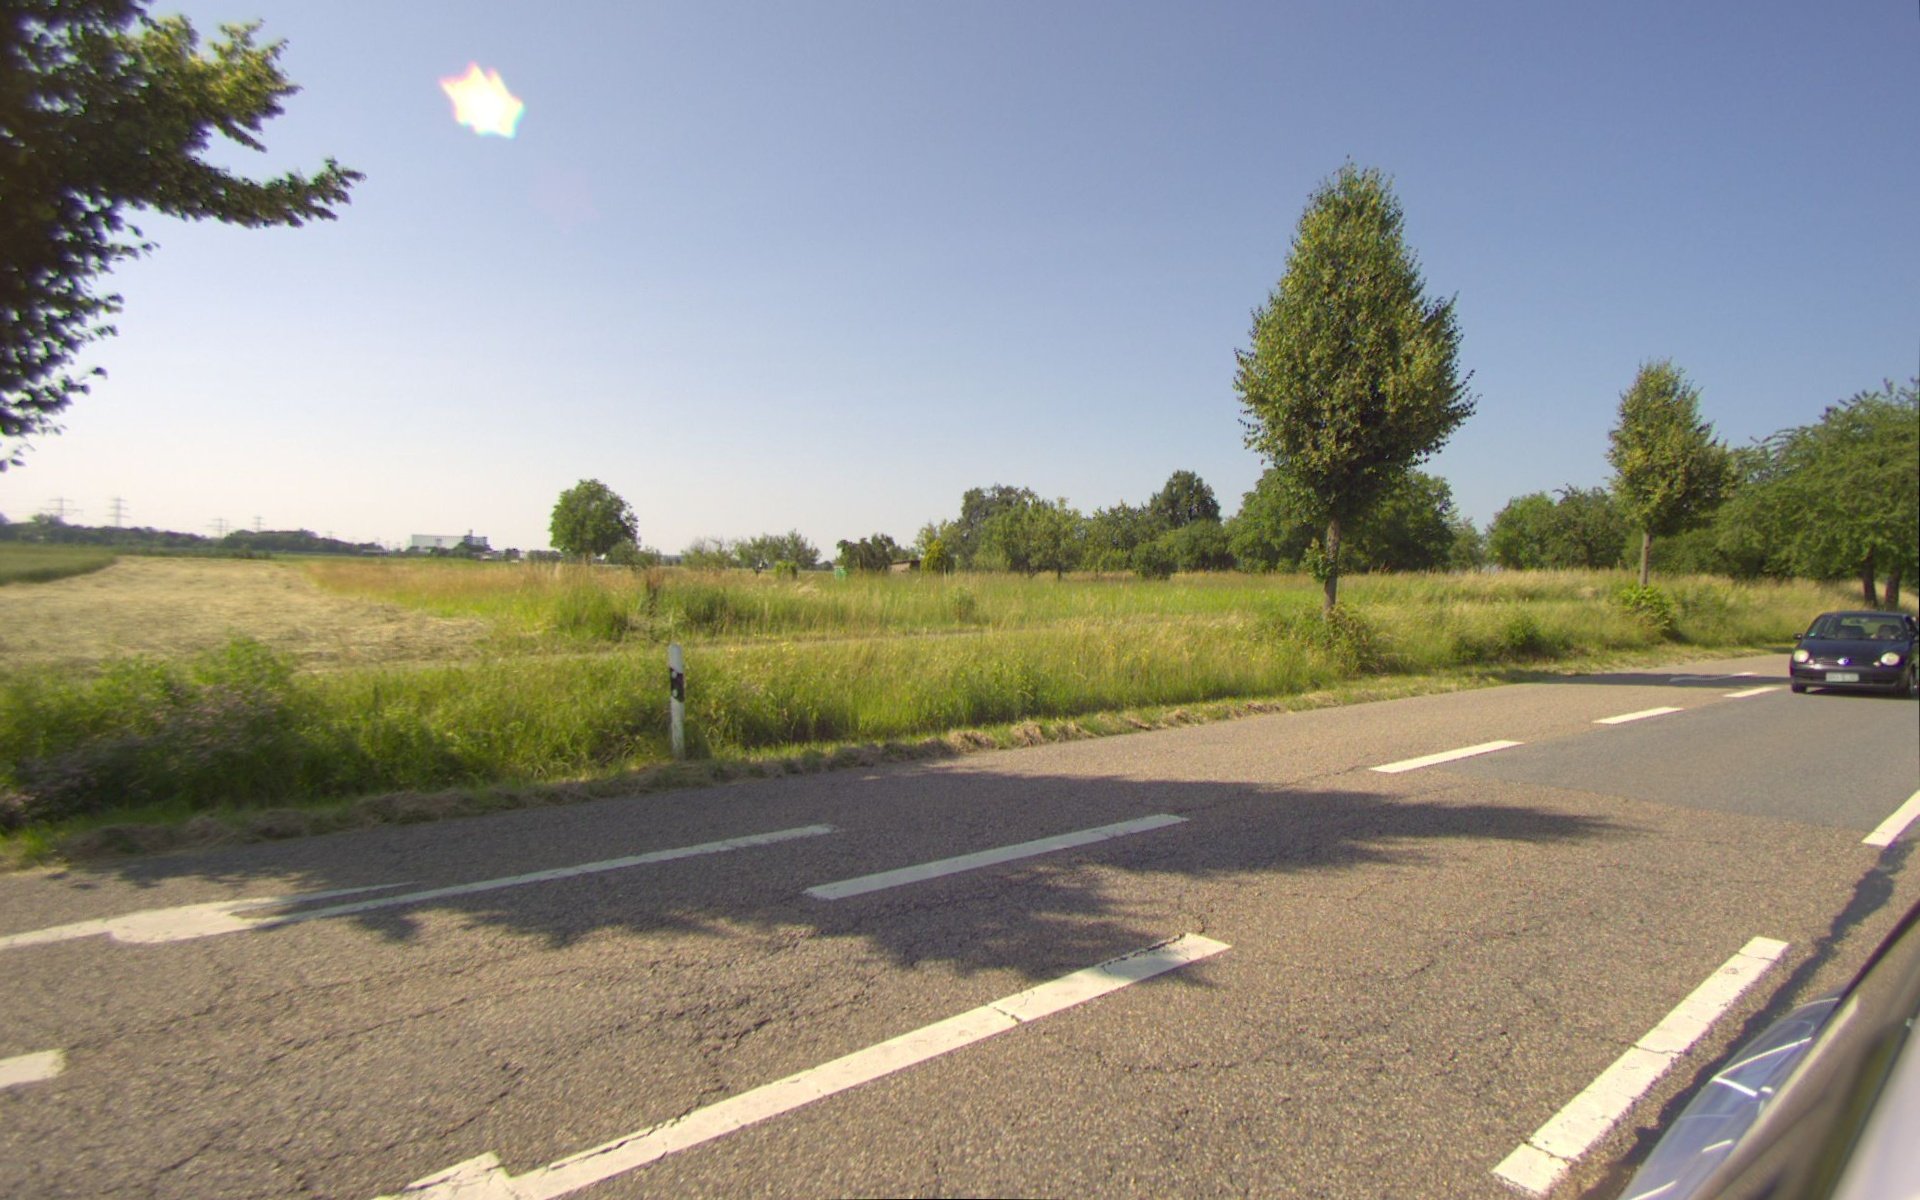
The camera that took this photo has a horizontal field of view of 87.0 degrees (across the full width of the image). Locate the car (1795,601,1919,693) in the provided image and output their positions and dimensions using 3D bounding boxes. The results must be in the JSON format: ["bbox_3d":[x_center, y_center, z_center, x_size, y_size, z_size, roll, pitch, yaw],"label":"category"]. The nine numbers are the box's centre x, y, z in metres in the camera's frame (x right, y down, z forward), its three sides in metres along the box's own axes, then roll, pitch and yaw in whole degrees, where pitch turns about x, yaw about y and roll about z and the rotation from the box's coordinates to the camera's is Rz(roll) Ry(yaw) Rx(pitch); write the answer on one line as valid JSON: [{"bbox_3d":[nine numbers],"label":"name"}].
[{"bbox_3d":[16.155,0.753,17.836,3.558,1.451,1.628,0,0,-40],"label":"car"}]
